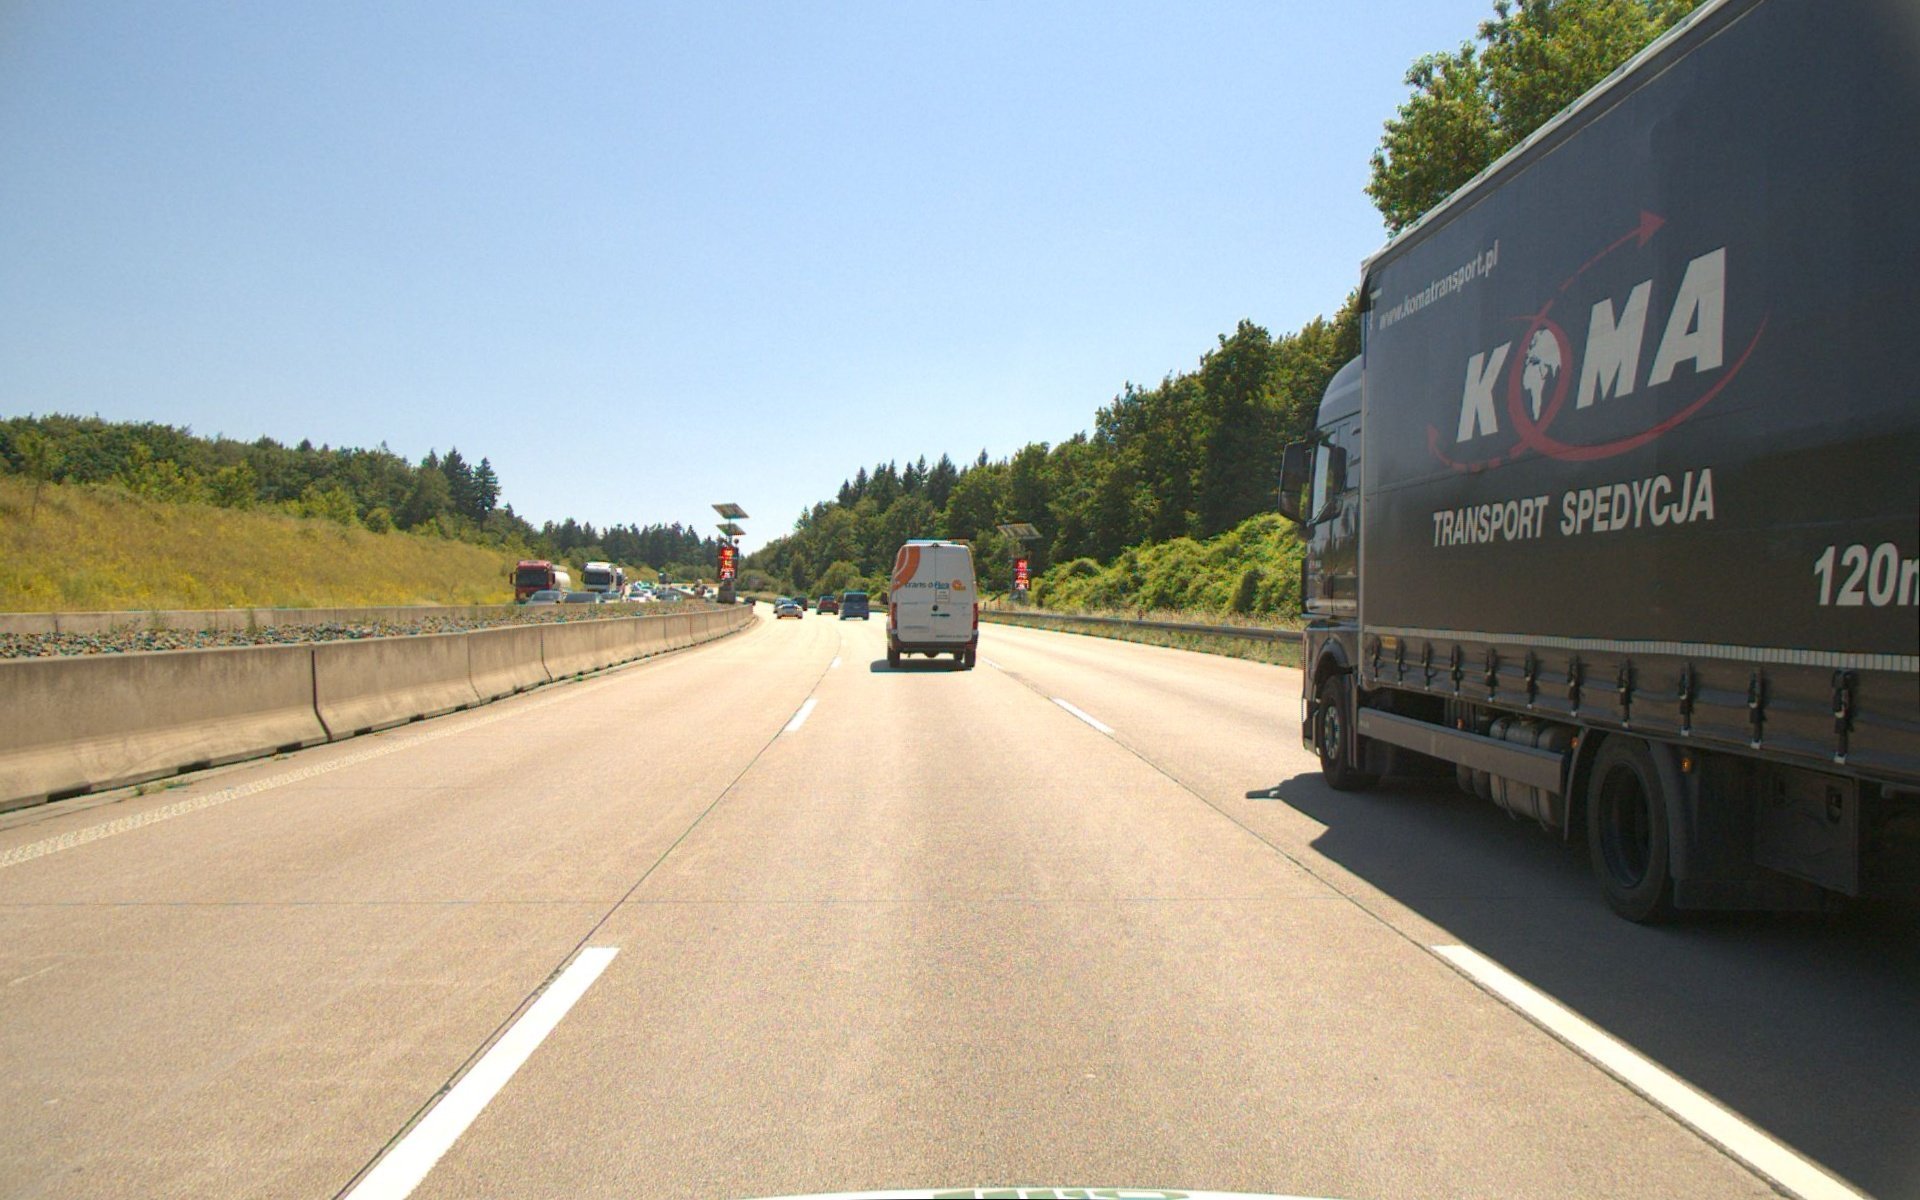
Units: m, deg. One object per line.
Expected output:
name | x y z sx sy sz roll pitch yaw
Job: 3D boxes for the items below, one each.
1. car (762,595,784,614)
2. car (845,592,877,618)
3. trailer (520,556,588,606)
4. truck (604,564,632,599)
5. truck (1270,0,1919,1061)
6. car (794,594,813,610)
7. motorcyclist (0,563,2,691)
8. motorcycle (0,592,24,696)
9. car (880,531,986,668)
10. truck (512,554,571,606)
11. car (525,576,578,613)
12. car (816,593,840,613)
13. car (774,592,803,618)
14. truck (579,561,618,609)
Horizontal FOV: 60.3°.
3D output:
car | -17.837 0.416 158.048 1.956 1.713 3.993 3 -1 -8
car | -7.014 0.370 116.725 1.956 1.713 3.993 3 -1 -8
trailer | -28.675 -1.256 117.388 2.877 3.271 11.817 3 0 -6
truck | -43.510 -2.294 210.439 2.879 4.241 6.217 3 -1 -9
truck | 4.515 -0.589 10.158 3.095 4.087 10.606 1 0 -1
car | -17.624 0.229 186.477 1.956 1.713 3.993 3 -1 -8
motorcyclist | -13.283 0.362 21.582 0.678 1.739 1.524 1 0 -1
motorcycle | -13.279 0.593 21.584 0.808 1.396 2.357 1 0 -1
car | -0.711 -0.034 37.968 2.182 2.894 5.451 1 1 -3
truck | -28.047 -1.265 111.015 2.877 3.271 5.898 3 -1 -6
car | -20.352 -0.289 82.556 1.955 1.803 3.995 0 0 -6
car | -12.019 0.261 150.700 1.956 1.713 3.993 3 -1 -8
car | -12.437 0.354 119.825 1.956 1.713 3.993 3 -1 -8
truck | -33.546 -1.354 153.589 2.878 4.241 5.751 3 -1 -7
